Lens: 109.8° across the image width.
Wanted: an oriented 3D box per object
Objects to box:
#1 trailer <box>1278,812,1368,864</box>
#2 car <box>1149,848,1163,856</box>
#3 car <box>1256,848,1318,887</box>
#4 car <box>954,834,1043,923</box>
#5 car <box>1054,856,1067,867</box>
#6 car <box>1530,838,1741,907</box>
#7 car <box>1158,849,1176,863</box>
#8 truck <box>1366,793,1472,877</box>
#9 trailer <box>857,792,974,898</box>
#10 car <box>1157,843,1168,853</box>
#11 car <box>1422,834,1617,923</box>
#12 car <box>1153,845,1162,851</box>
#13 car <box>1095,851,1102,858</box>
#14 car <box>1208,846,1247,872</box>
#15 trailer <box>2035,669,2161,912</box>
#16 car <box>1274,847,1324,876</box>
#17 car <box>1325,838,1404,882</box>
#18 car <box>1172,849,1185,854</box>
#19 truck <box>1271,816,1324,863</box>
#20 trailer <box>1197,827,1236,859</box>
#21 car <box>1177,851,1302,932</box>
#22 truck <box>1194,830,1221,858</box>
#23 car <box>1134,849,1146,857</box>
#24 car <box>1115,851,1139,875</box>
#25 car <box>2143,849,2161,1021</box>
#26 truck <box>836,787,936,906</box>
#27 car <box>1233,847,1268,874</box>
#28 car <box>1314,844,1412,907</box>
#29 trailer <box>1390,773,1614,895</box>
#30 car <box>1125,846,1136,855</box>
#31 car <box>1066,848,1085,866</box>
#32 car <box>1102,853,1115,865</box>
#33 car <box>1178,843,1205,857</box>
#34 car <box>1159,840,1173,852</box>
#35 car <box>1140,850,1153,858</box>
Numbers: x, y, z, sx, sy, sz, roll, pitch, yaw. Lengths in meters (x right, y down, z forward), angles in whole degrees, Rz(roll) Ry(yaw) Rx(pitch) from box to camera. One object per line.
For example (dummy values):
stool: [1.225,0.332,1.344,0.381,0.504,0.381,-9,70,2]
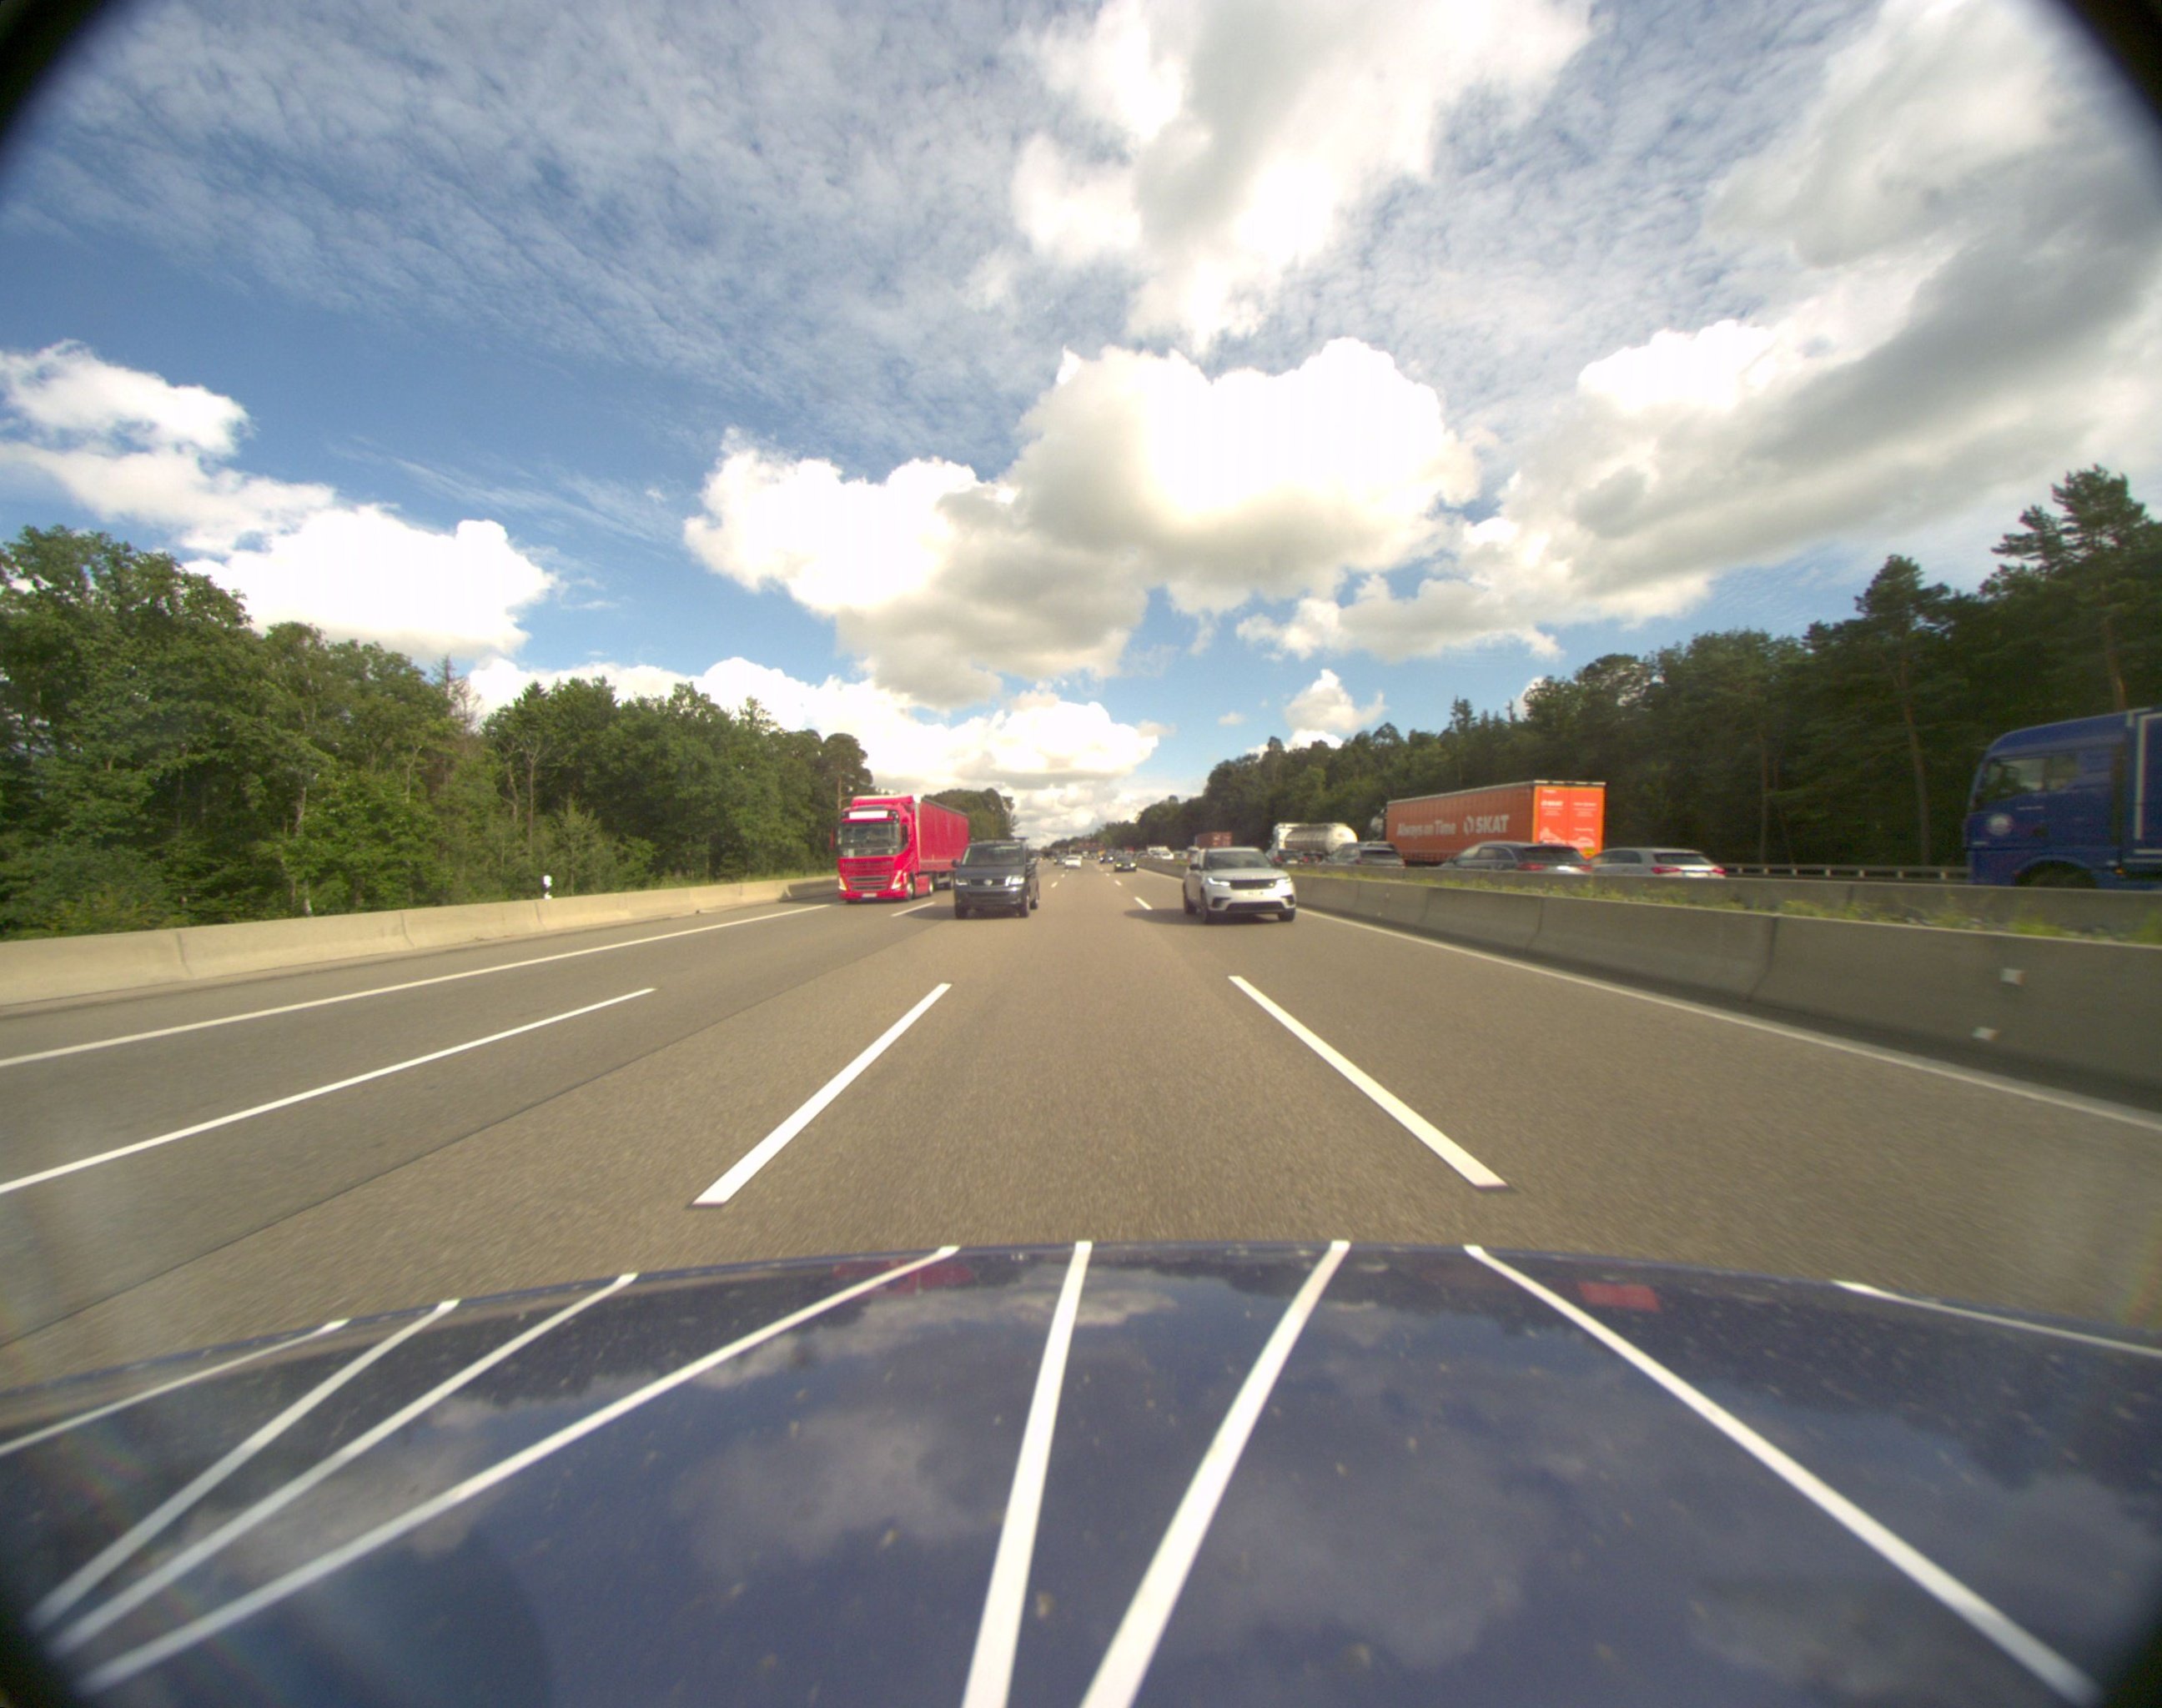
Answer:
trailer: [18.066,-1.183,57.861,2.957,3.478,12.230,-2,1,0]
car: [10.478,-0.272,106.247,1.575,0.992,4.000,-2,0,0]
car: [10.593,0.633,39.444,1.821,1.871,4.903,-1,0,0]
car: [-2.157,0.622,21.153,1.927,2.153,4.961,-1,0,-1]
car: [-3.247,1.131,120.150,1.911,1.582,4.286,-2,1,-2]
car: [13.654,0.402,19.171,1.728,1.474,4.903,-2,0,0]
car: [10.218,0.198,90.510,1.515,1.552,3.999,-2,0,-1]
truck: [17.856,-0.930,40.687,2.621,4.047,6.717,-2,0,0]
trailer: [-7.470,-0.387,36.876,2.531,4.096,14.375,-2,0,-1]
car: [18.195,-1.316,168.892,1.998,2.002,4.000,-2,0,0]
car: [9.858,0.483,17.592,1.821,1.753,4.630,-2,0,0]
car: [18.584,-1.461,183.777,1.762,1.271,4.000,-2,0,0]
car: [4.731,0.221,204.410,1.804,1.783,3.758,-1,0,0]
car: [10.371,0.333,54.030,1.821,1.735,4.903,-2,0,0]
trailer: [17.577,-0.965,7.738,2.895,3.637,10.219,-2,0,0]
car: [14.236,0.471,49.903,1.821,1.753,4.903,-1,0,0]
car: [13.952,0.253,37.722,1.998,1.948,4.990,-2,1,0]
car: [14.584,-0.367,113.807,1.575,0.807,4.000,-2,0,0]
truck: [18.062,-1.196,63.672,2.964,3.725,5.108,-2,1,0]
trailer: [18.241,-1.429,103.094,2.957,3.961,12.890,-2,1,0]
car: [3.536,0.776,17.993,1.905,1.597,5.105,-2,0,1]
truck: [18.303,-1.429,109.980,2.963,3.963,5.151,-2,1,0]
car: [10.670,-0.204,137.986,1.762,1.271,4.000,-2,0,0]
car: [3.982,0.817,66.173,1.919,2.001,4.001,-1,-1,1]
car: [13.816,0.949,6.903,1.837,2.048,4.636,-2,0,0]
truck: [-7.421,-0.281,29.471,2.532,4.178,4.653,-2,1,0]
car: [14.124,0.519,63.523,1.821,2.094,4.478,-2,0,-1]
car: [9.920,0.670,27.089,1.747,2.002,4.682,-2,1,1]
trailer: [17.818,-0.804,33.908,2.646,4.295,13.175,-2,1,0]
car: [10.693,-0.692,164.042,1.998,1.838,4.000,-2,0,0]
car: [-0.659,0.371,88.367,1.998,2.002,4.000,-2,0,2]
car: [4.209,0.751,117.089,1.911,1.582,4.287,-2,1,0]
car: [9.625,-0.342,66.400,1.599,1.167,4.355,-2,0,-1]
car: [14.615,-1.395,130.465,1.998,2.002,3.999,-2,1,0]
car: [10.710,-0.015,124.339,1.762,1.271,4.000,-2,0,0]
